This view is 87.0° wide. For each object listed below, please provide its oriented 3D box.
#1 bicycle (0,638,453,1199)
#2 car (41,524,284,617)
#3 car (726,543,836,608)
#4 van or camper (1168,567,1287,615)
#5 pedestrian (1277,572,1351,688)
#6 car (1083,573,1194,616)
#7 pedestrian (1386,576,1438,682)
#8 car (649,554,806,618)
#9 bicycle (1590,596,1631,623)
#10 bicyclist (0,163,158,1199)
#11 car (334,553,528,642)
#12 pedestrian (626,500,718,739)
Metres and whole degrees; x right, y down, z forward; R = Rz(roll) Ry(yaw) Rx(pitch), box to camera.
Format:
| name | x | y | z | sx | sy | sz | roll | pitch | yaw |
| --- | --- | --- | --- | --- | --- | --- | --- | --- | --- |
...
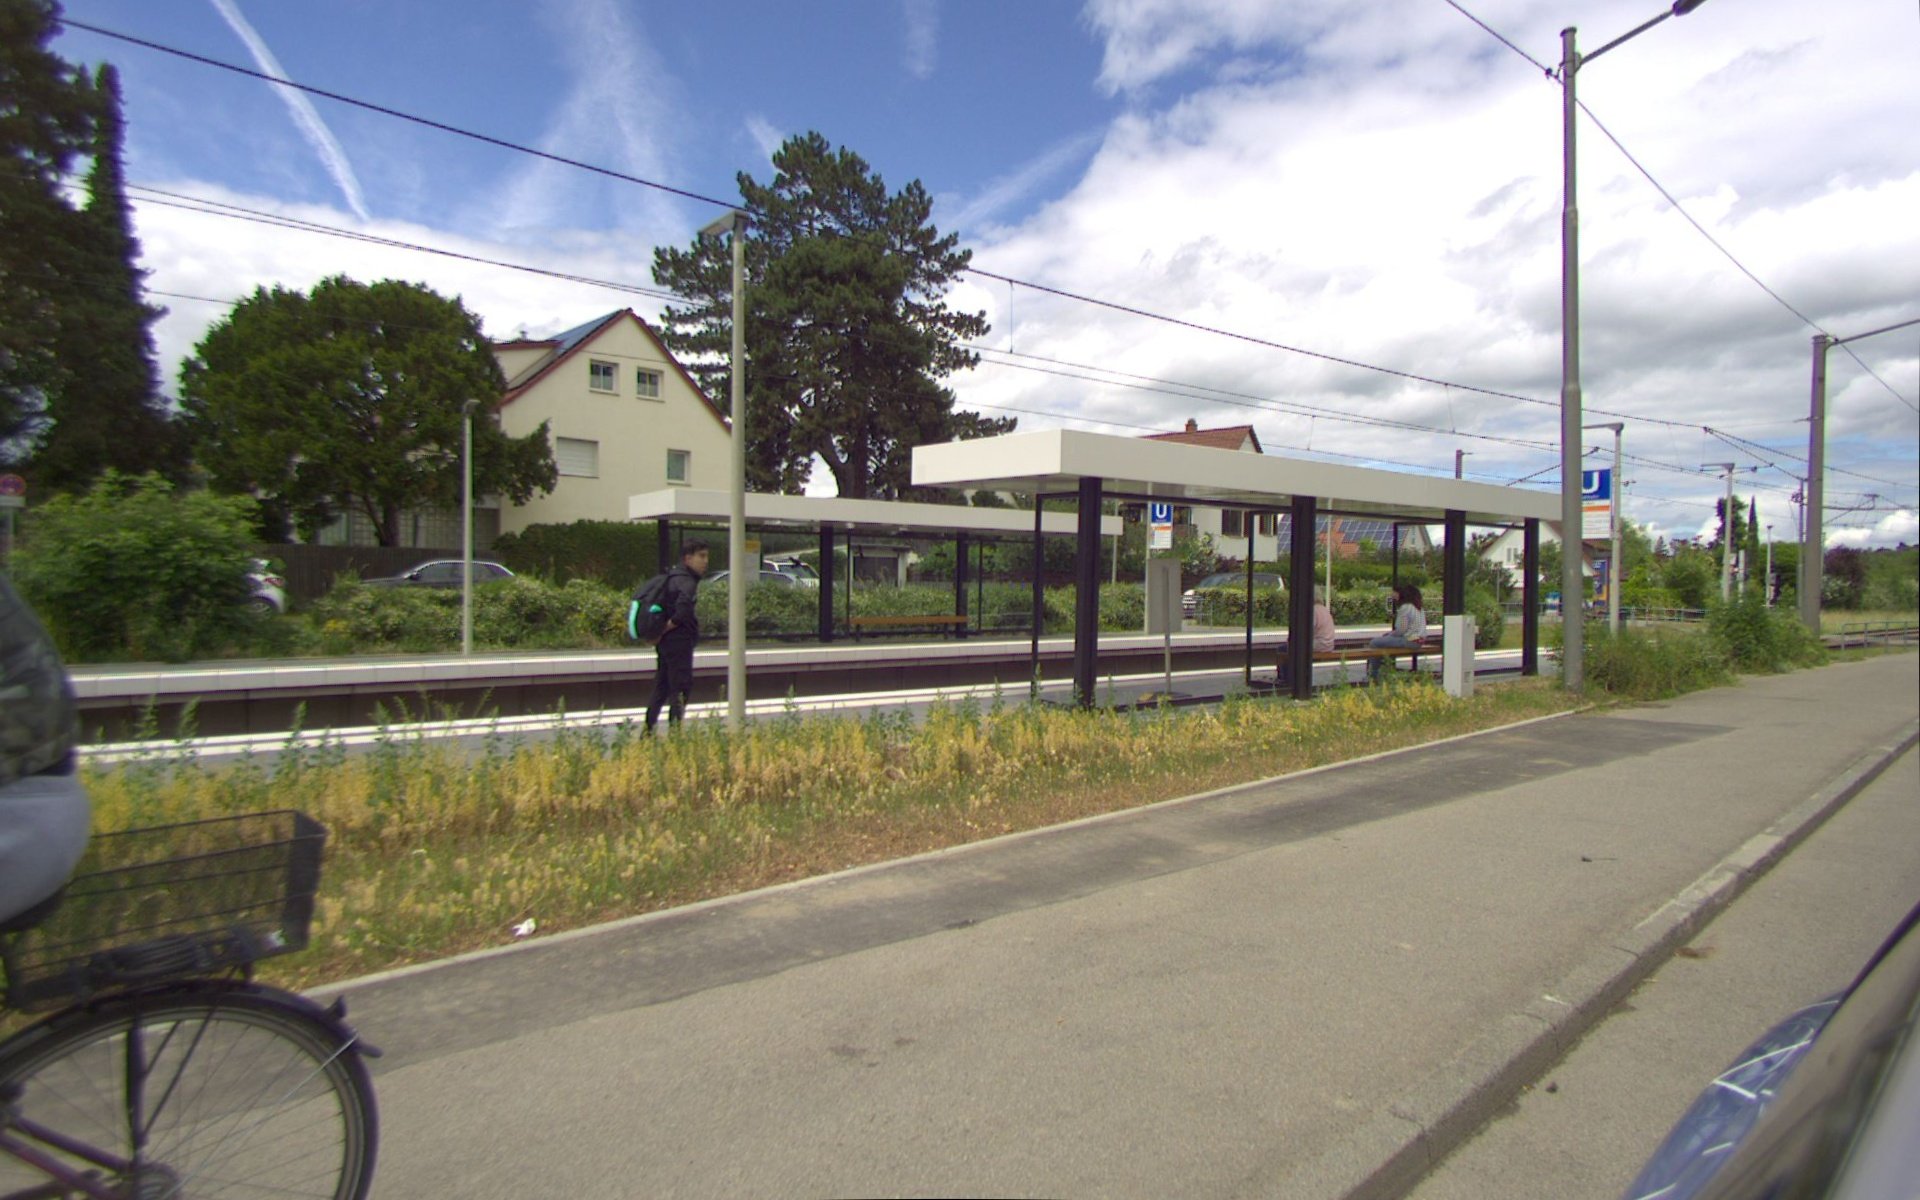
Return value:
| name | x | y | z | sx | sy | sz | roll | pitch | yaw |
| --- | --- | --- | --- | --- | --- | --- | --- | --- | --- |
| bicycle | -1.840 | 0.715 | 1.332 | 2.019 | 1.262 | 0.547 | 0 | 0 | -42 |
| car | -16.466 | -0.569 | 21.179 | 3.859 | 1.773 | 1.738 | 0 | 0 | -34 |
| car | -6.210 | -0.885 | 34.805 | 1.716 | 1.967 | 4.337 | 0 | 4 | -41 |
| van or camper | 10.869 | -0.378 | 40.925 | 4.951 | 1.848 | 1.912 | 0 | 1 | -35 |
| pedestrian | 4.421 | 0.359 | 12.631 | 0.726 | 1.397 | 0.583 | 1 | 0 | -40 |
| car | 6.744 | -0.227 | 38.160 | 3.924 | 1.541 | 1.890 | 0 | 1 | -35 |
| pedestrian | 6.067 | 0.377 | 13.608 | 0.388 | 1.359 | 0.488 | 0 | 6 | -5 |
| car | -6.466 | -0.379 | 28.371 | 3.931 | 1.683 | 1.779 | 0 | 1 | -42 |
| bicycle | 31.480 | 0.466 | 48.957 | 2.491 | 1.054 | 0.542 | 5 | 14 | -36 |
| bicyclist | -1.659 | 0.237 | 1.460 | 0.744 | 1.632 | 0.718 | 1 | 0 | -41 |
| car | -12.489 | -0.081 | 23.956 | 3.860 | 1.938 | 1.737 | -1 | 0 | -35 |
| pedestrian | -2.231 | 0.139 | 7.812 | 0.641 | 1.747 | 0.641 | 0 | 0 | -19 |
